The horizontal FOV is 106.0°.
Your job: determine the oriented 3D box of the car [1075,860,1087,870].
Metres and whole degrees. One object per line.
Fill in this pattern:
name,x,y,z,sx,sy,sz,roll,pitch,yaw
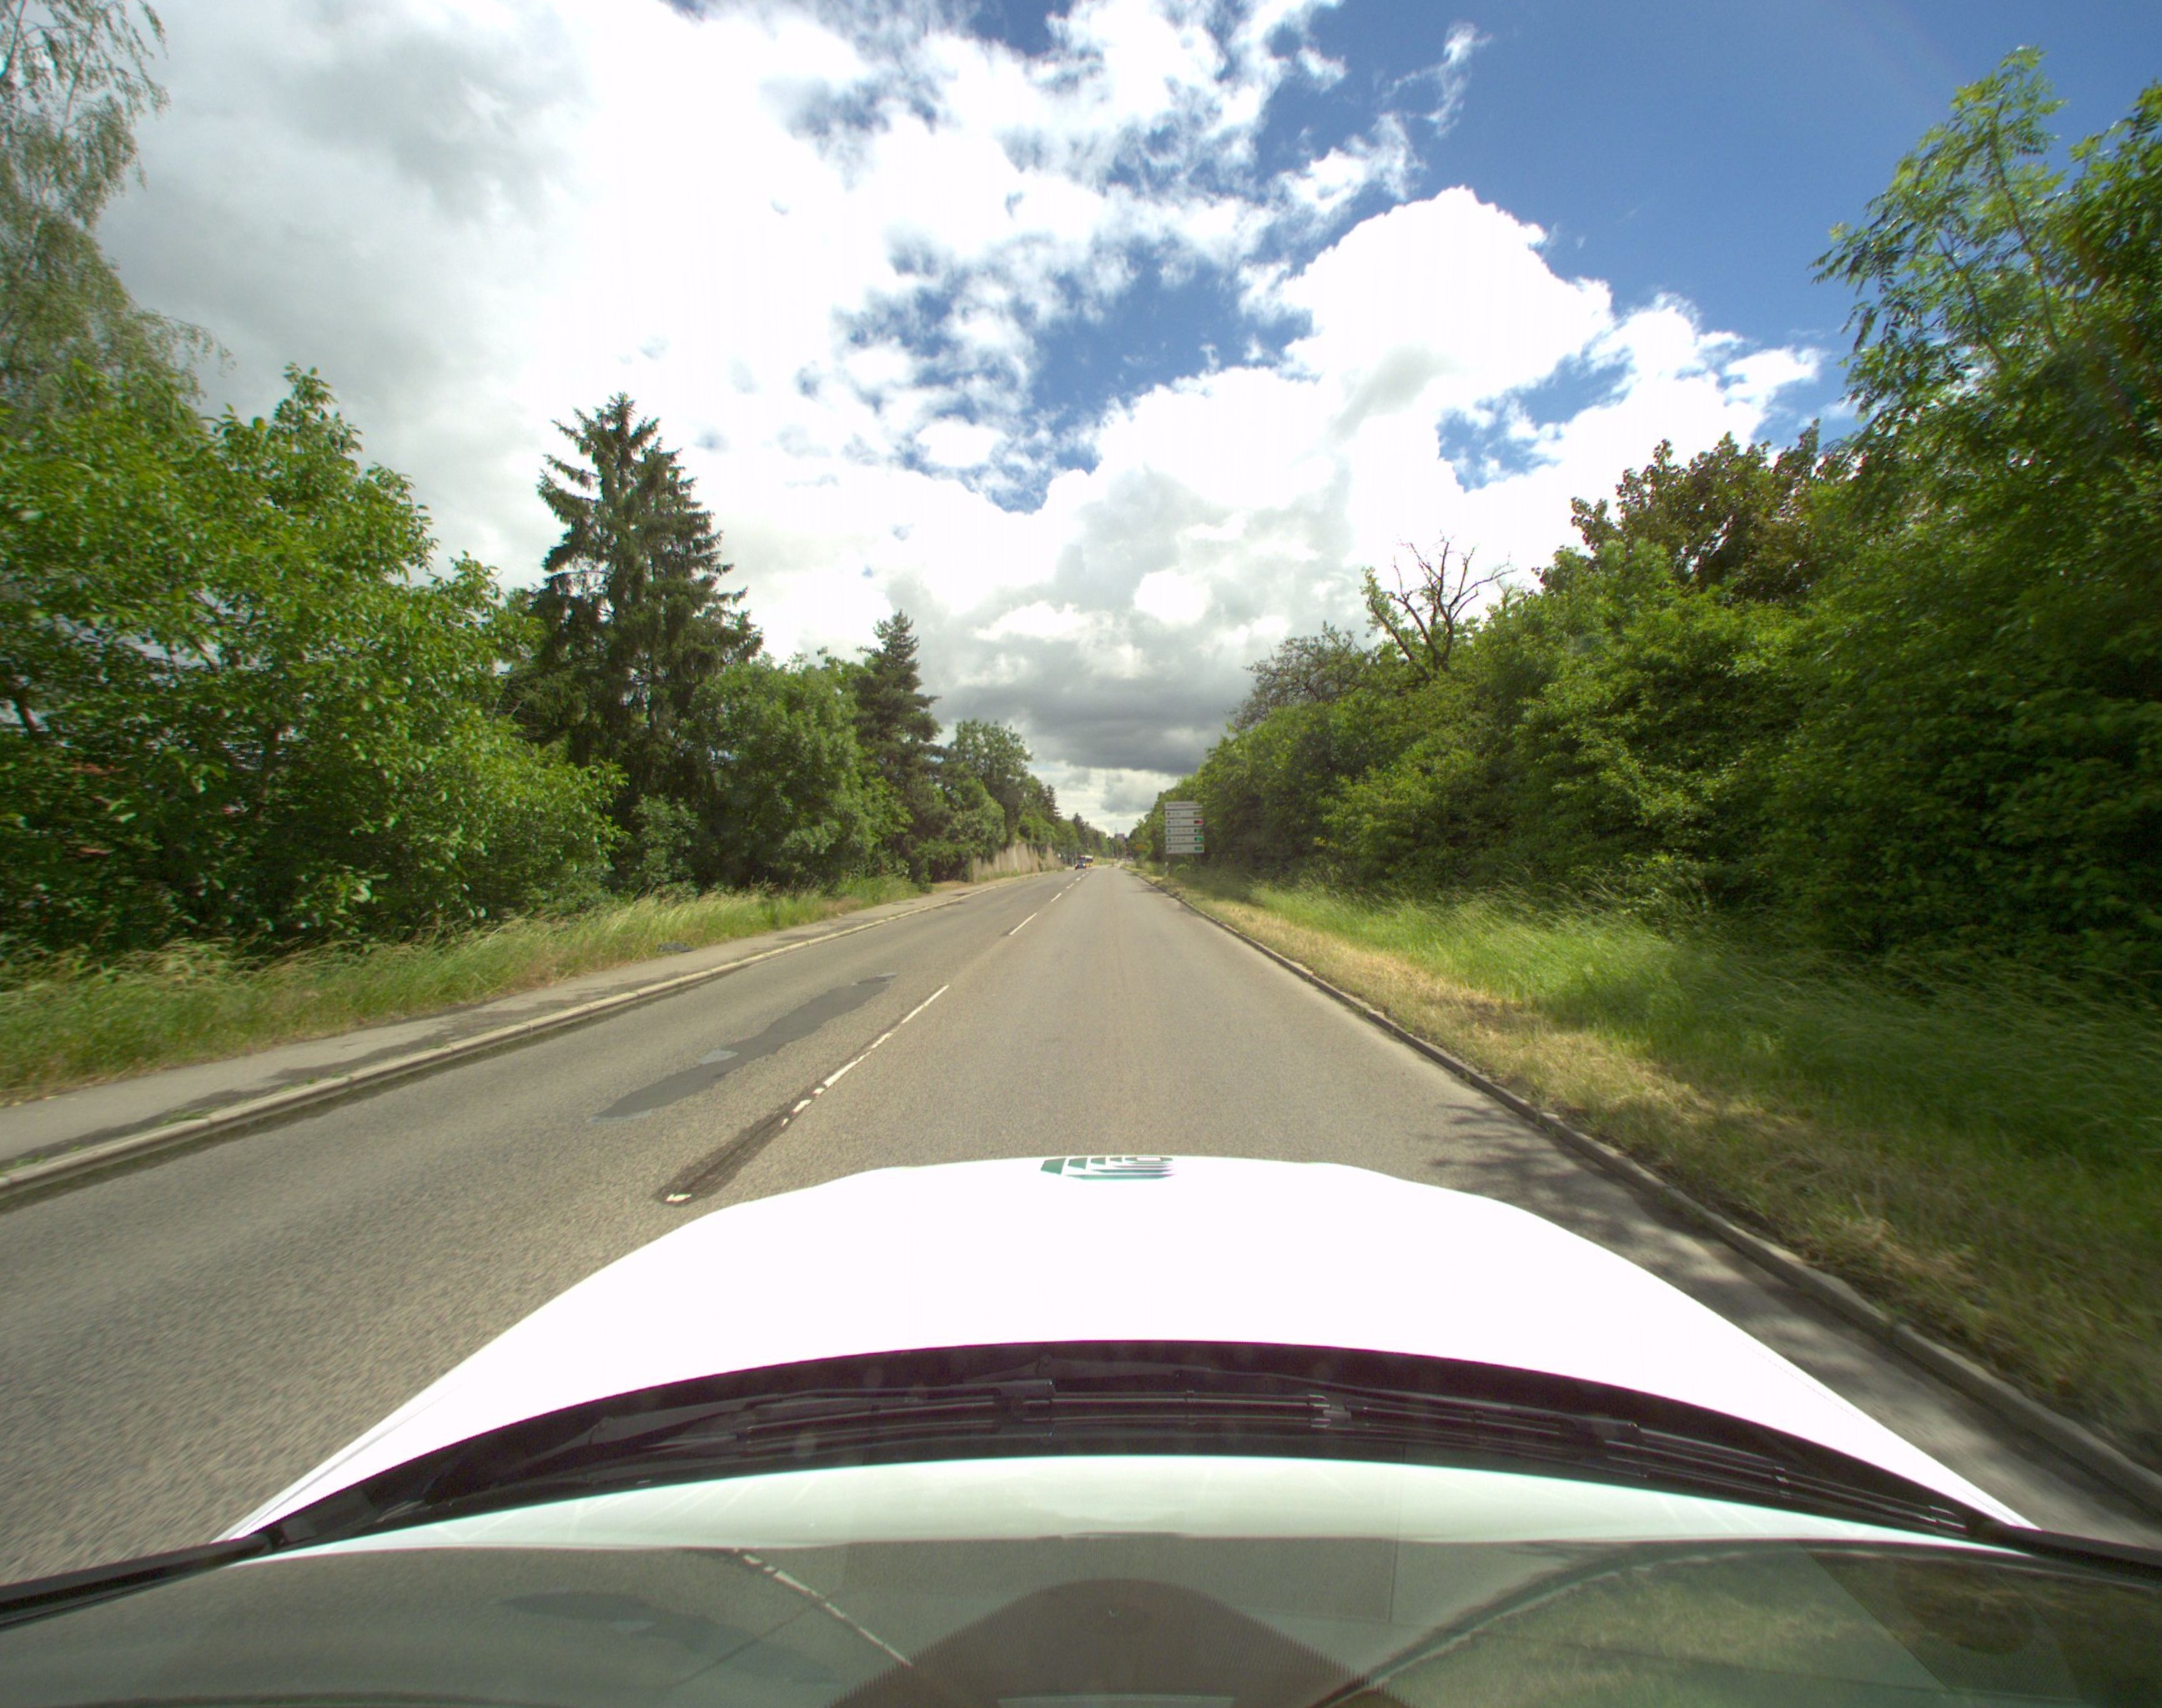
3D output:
car,0.058,1.687,129.274,1.745,1.464,4.001,-3,0,1
